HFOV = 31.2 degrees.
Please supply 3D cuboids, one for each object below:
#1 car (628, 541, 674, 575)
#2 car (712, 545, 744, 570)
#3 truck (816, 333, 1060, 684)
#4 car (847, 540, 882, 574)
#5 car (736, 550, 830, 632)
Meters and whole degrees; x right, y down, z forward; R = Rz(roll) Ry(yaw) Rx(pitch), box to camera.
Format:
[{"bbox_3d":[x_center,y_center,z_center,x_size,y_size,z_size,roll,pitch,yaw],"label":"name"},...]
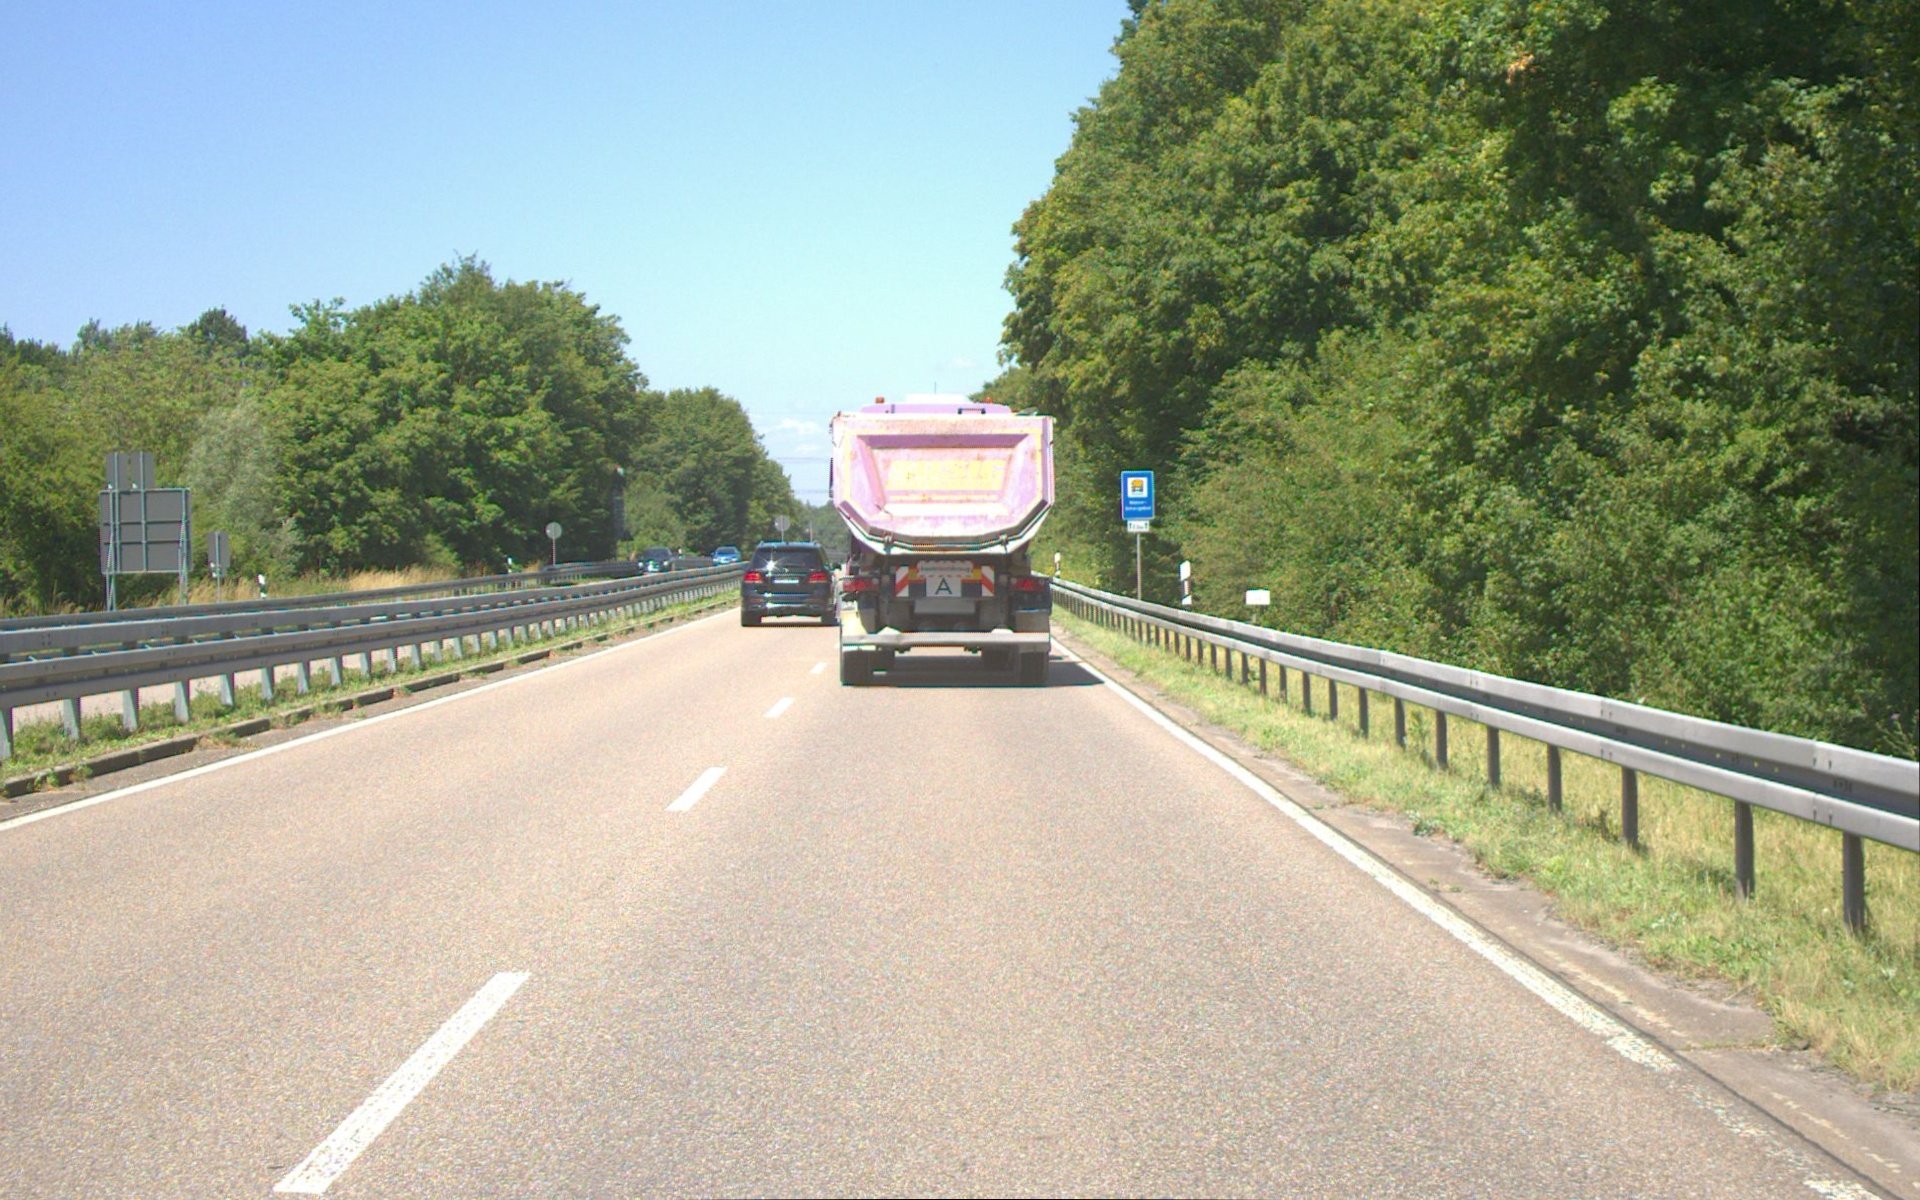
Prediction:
[{"bbox_3d":[-15.882,-2.179,176.762,1.779,1.614,4.506,-3,1,1],"label":"car"},{"bbox_3d":[-15.534,-2.872,230.566,1.812,1.537,4.929,-2,1,0],"label":"car"},{"bbox_3d":[-0.381,-1.151,44.753,2.720,3.916,12.371,0,1,-1],"label":"truck"},{"bbox_3d":[-5.146,-2.296,184.581,1.857,1.712,4.000,0,0,-1],"label":"car"},{"bbox_3d":[-3.689,-0.170,72.145,1.857,1.666,4.000,0,0,-1],"label":"car"}]
